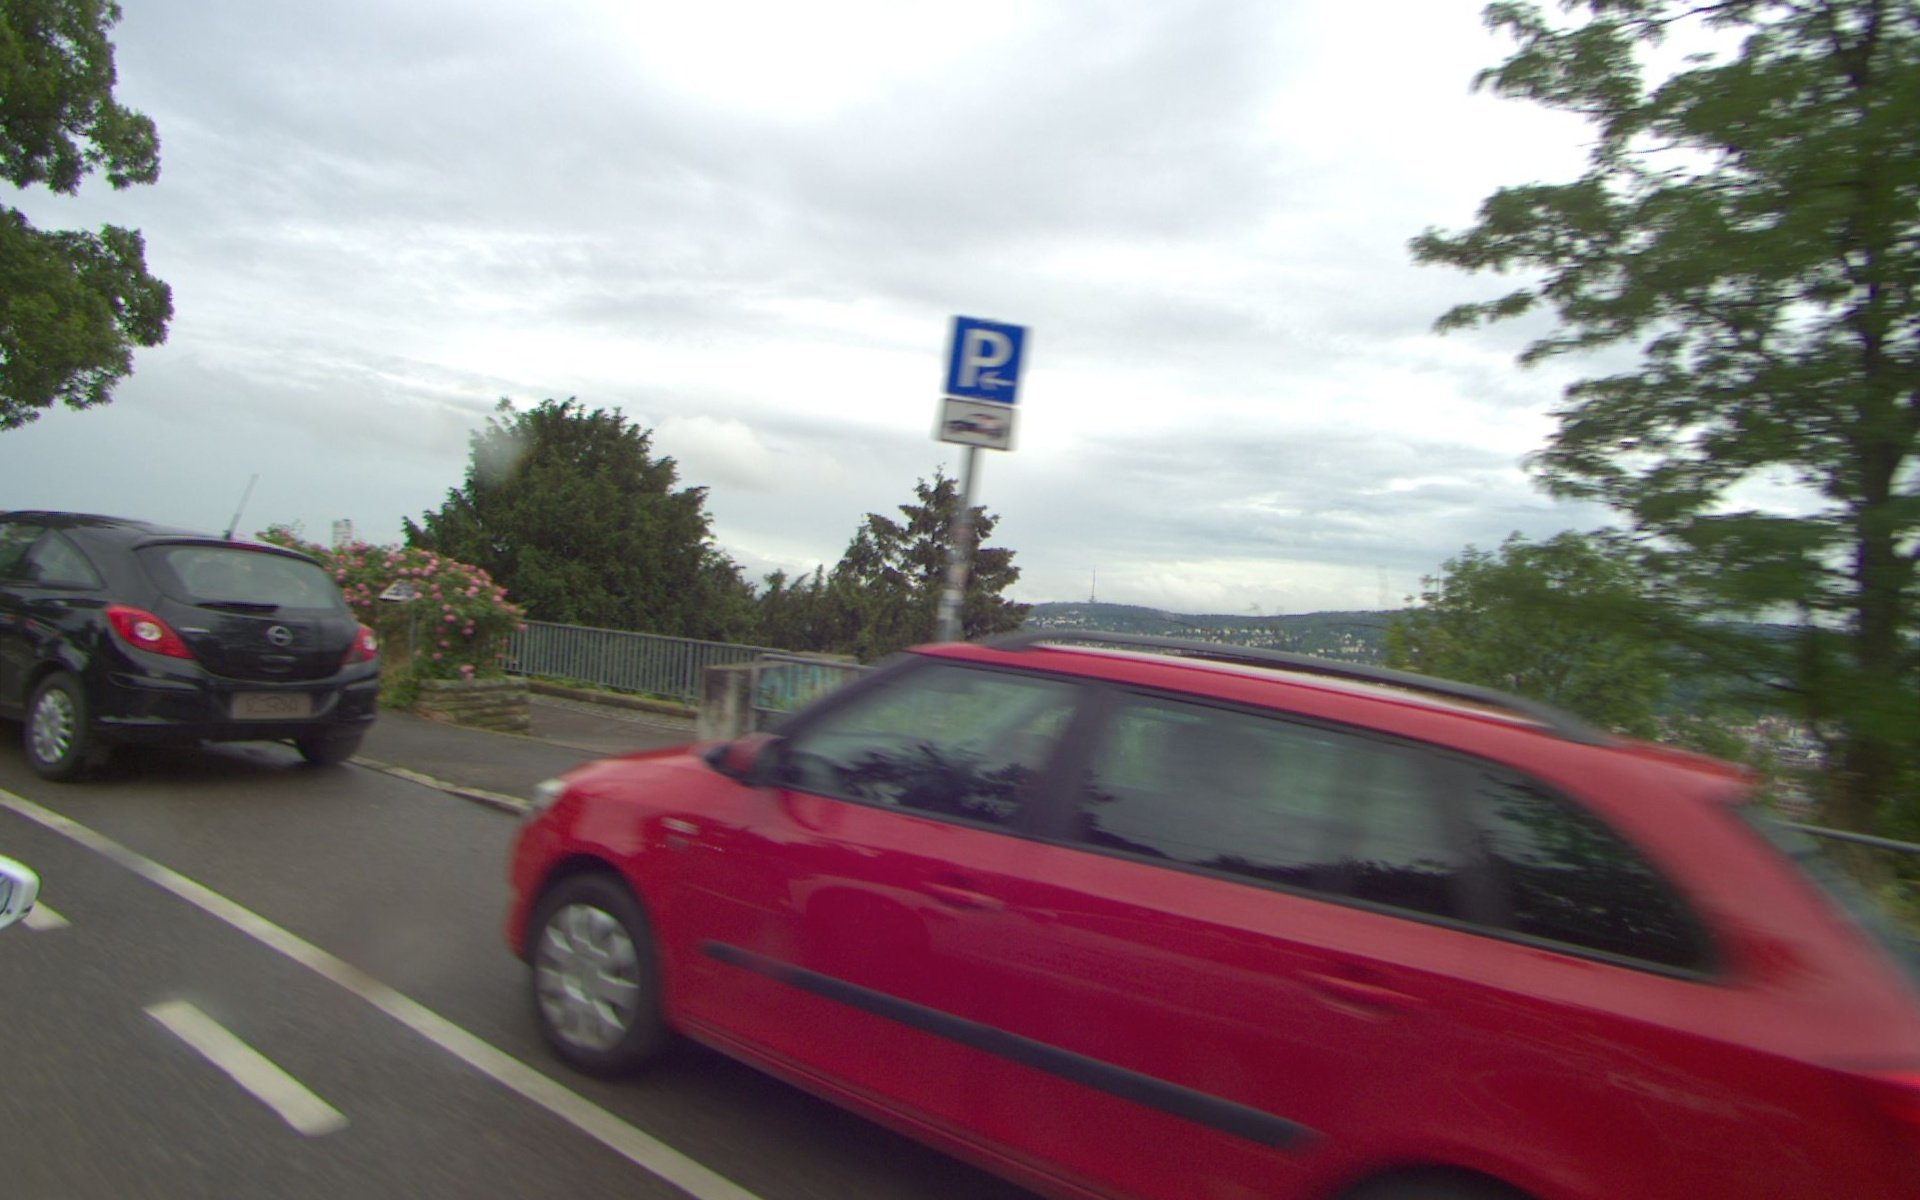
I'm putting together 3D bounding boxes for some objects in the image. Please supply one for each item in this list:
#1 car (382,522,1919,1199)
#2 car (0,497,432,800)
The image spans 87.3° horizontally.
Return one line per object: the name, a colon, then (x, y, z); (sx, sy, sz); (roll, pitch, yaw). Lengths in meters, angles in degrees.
car: (0.225, 0.786, 3.179); (4.144, 1.559, 1.622); (7, 1, 31)
car: (-5.725, 0.162, 6.733); (3.876, 1.460, 1.702); (8, -2, 24)
